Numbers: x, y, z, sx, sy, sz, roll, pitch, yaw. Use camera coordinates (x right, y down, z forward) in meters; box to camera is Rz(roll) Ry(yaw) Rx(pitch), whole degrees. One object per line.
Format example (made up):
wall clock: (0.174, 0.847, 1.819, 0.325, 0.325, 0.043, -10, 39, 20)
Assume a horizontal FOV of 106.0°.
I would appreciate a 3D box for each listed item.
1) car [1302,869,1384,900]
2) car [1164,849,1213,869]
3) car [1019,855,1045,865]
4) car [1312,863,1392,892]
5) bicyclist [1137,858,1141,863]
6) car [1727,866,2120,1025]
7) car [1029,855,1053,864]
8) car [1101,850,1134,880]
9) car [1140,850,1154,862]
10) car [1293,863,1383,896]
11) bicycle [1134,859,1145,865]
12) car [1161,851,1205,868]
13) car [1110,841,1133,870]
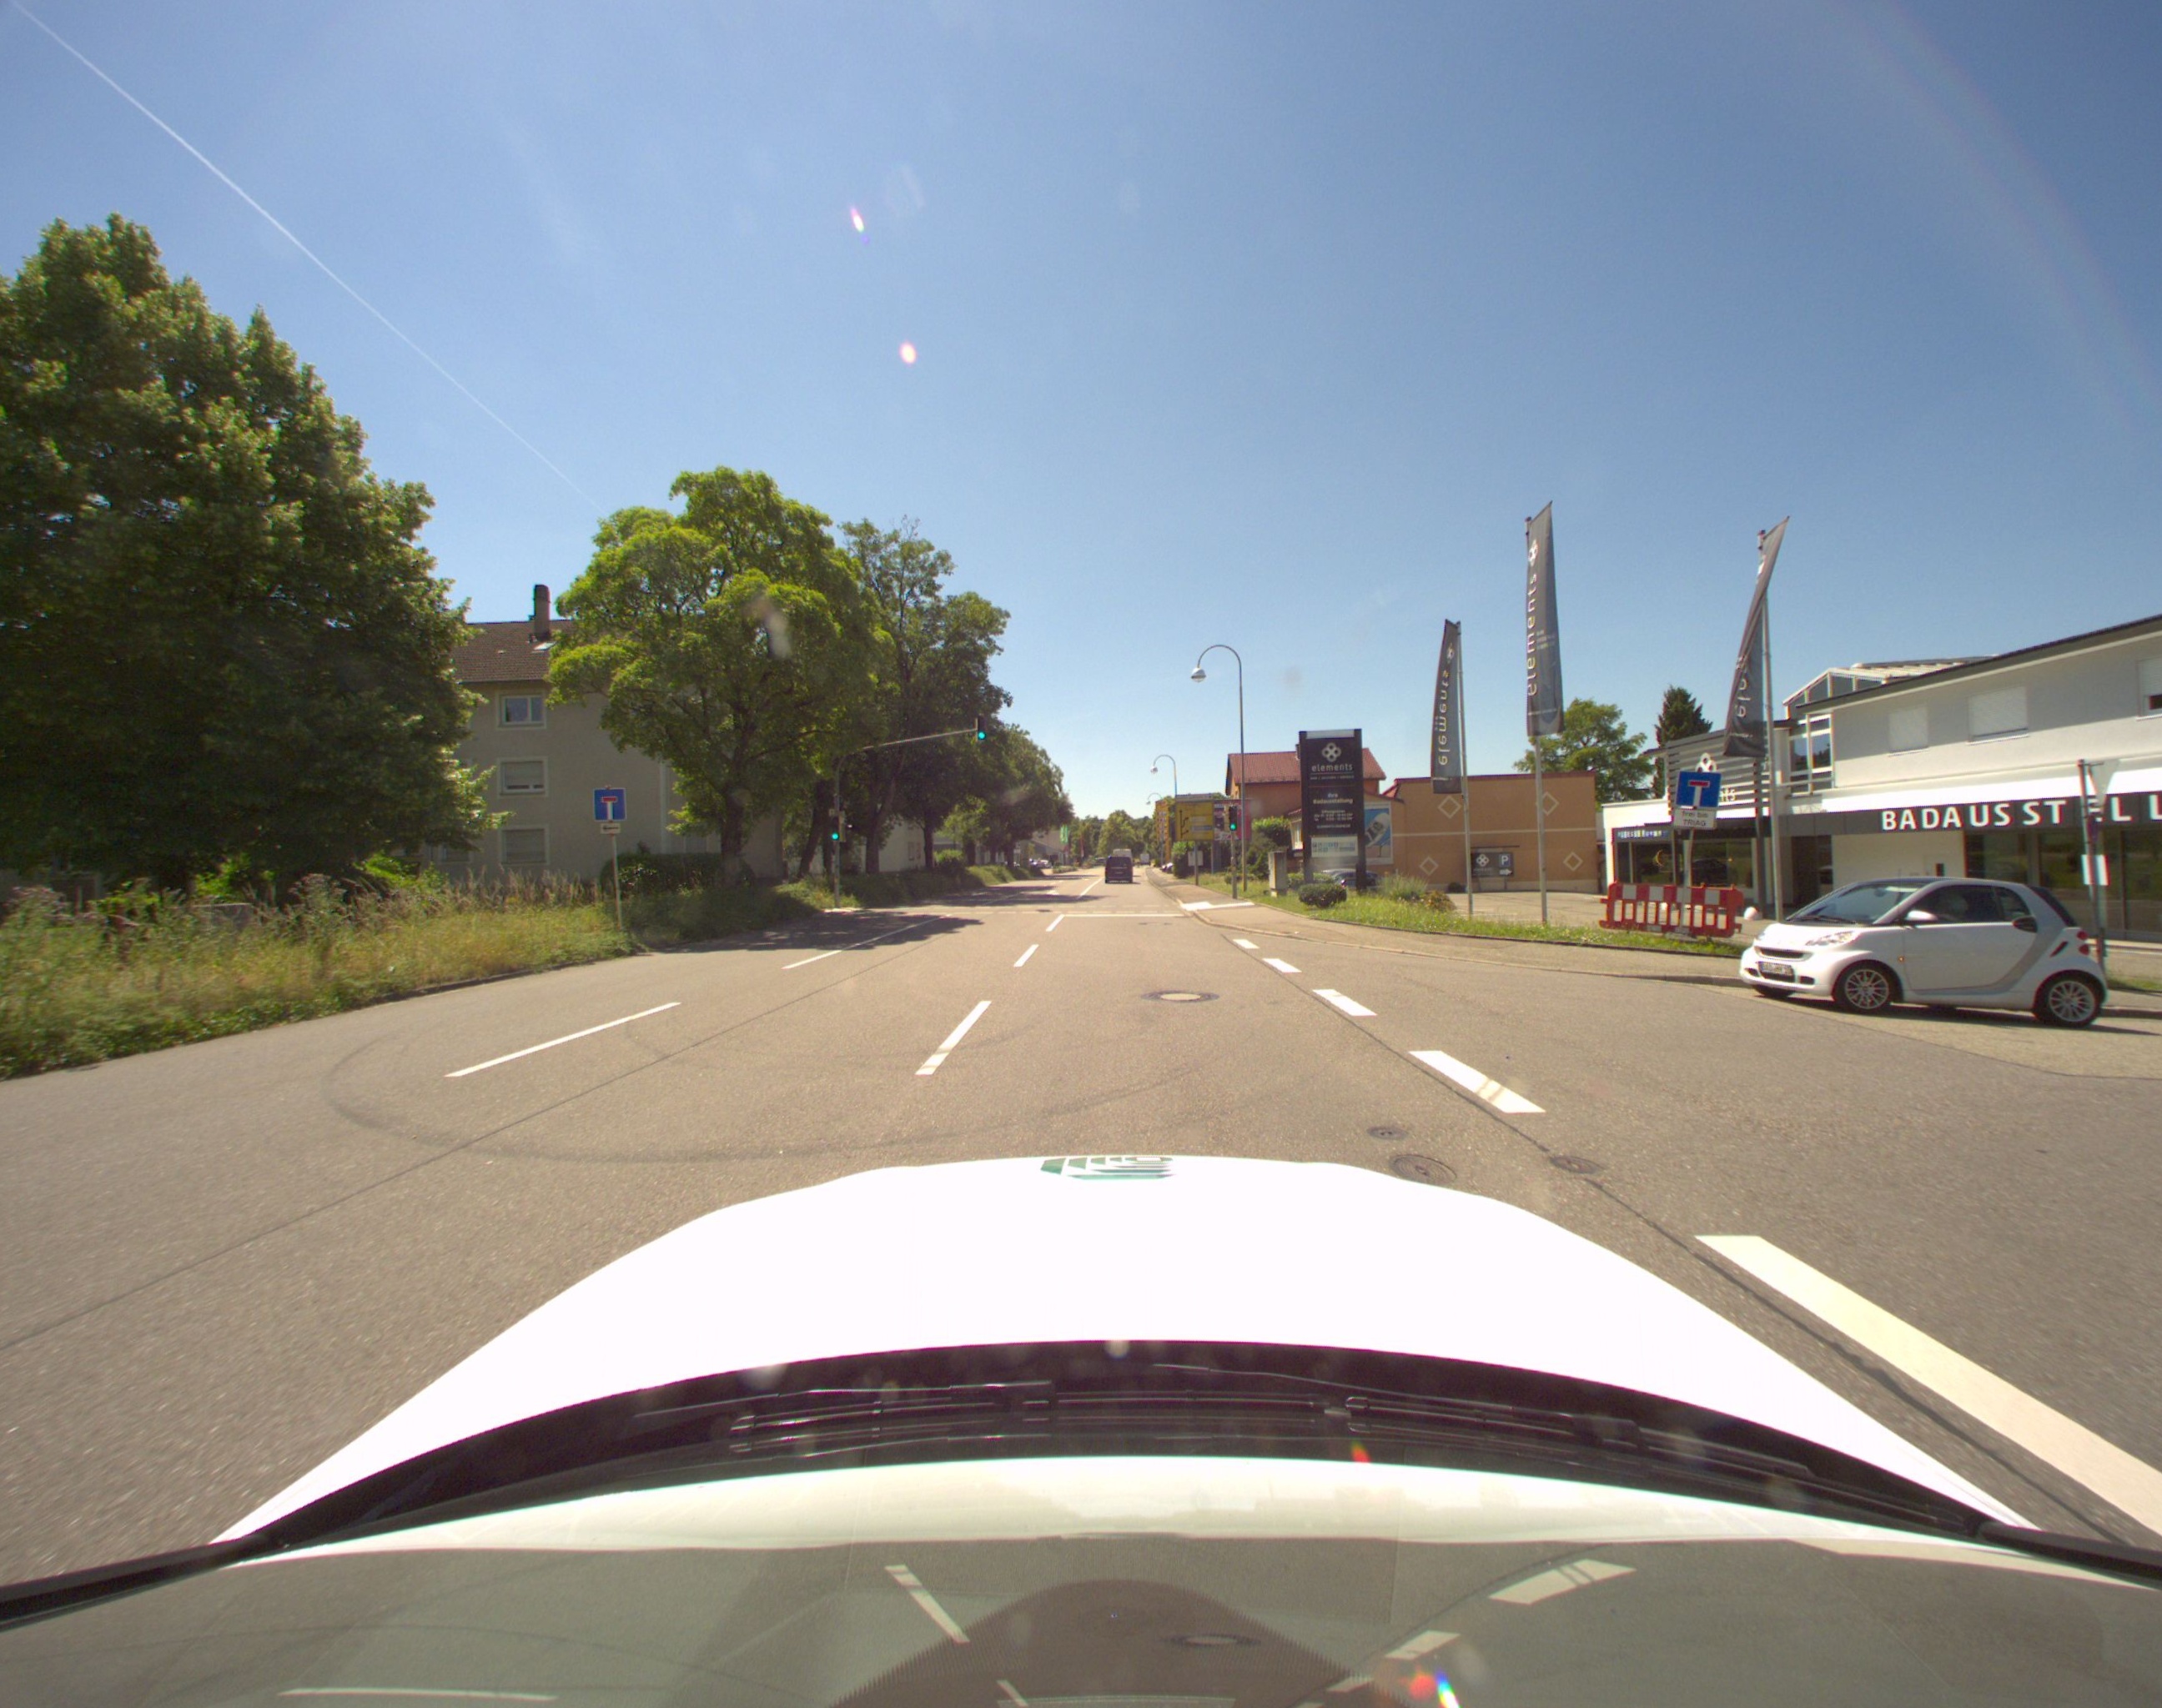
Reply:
car: (12.682, 1.481, 39.592, 3.601, 1.417, 1.702, 0, 1, 8)
car: (10.670, 0.445, 80.912, 4.544, 1.717, 1.999, -3, 1, -2)
car: (-8.566, 1.076, 141.849, 4.008, 1.706, 1.912, 0, 1, 20)
car: (16.099, 1.378, 48.552, 4.233, 1.599, 1.895, -1, 0, 9)
bicyclist: (10.200, 1.094, 143.862, 0.470, 0.853, 0.553, -2, 3, -24)
car: (9.445, 0.979, 9.352, 2.752, 1.520, 1.599, 2, -2, 7)
car: (-7.305, 0.963, 149.584, 3.960, 1.662, 2.007, 0, 1, 12)
car: (2.442, 0.706, 55.275, 1.987, 1.893, 3.999, 0, 1, -1)
car: (14.510, 0.393, 179.522, 2.337, 2.546, 4.973, 0, 1, 12)
car: (13.531, 1.339, 43.114, 4.252, 1.646, 1.892, 0, 1, 4)
bicycle: (10.337, 1.446, 143.933, 1.723, 0.887, 0.553, -2, 3, -25)
car: (10.436, 0.575, 83.290, 4.145, 1.456, 1.906, -3, 1, -2)
car: (3.969, 0.116, 79.085, 2.111, 2.677, 5.667, 0, 1, 3)
